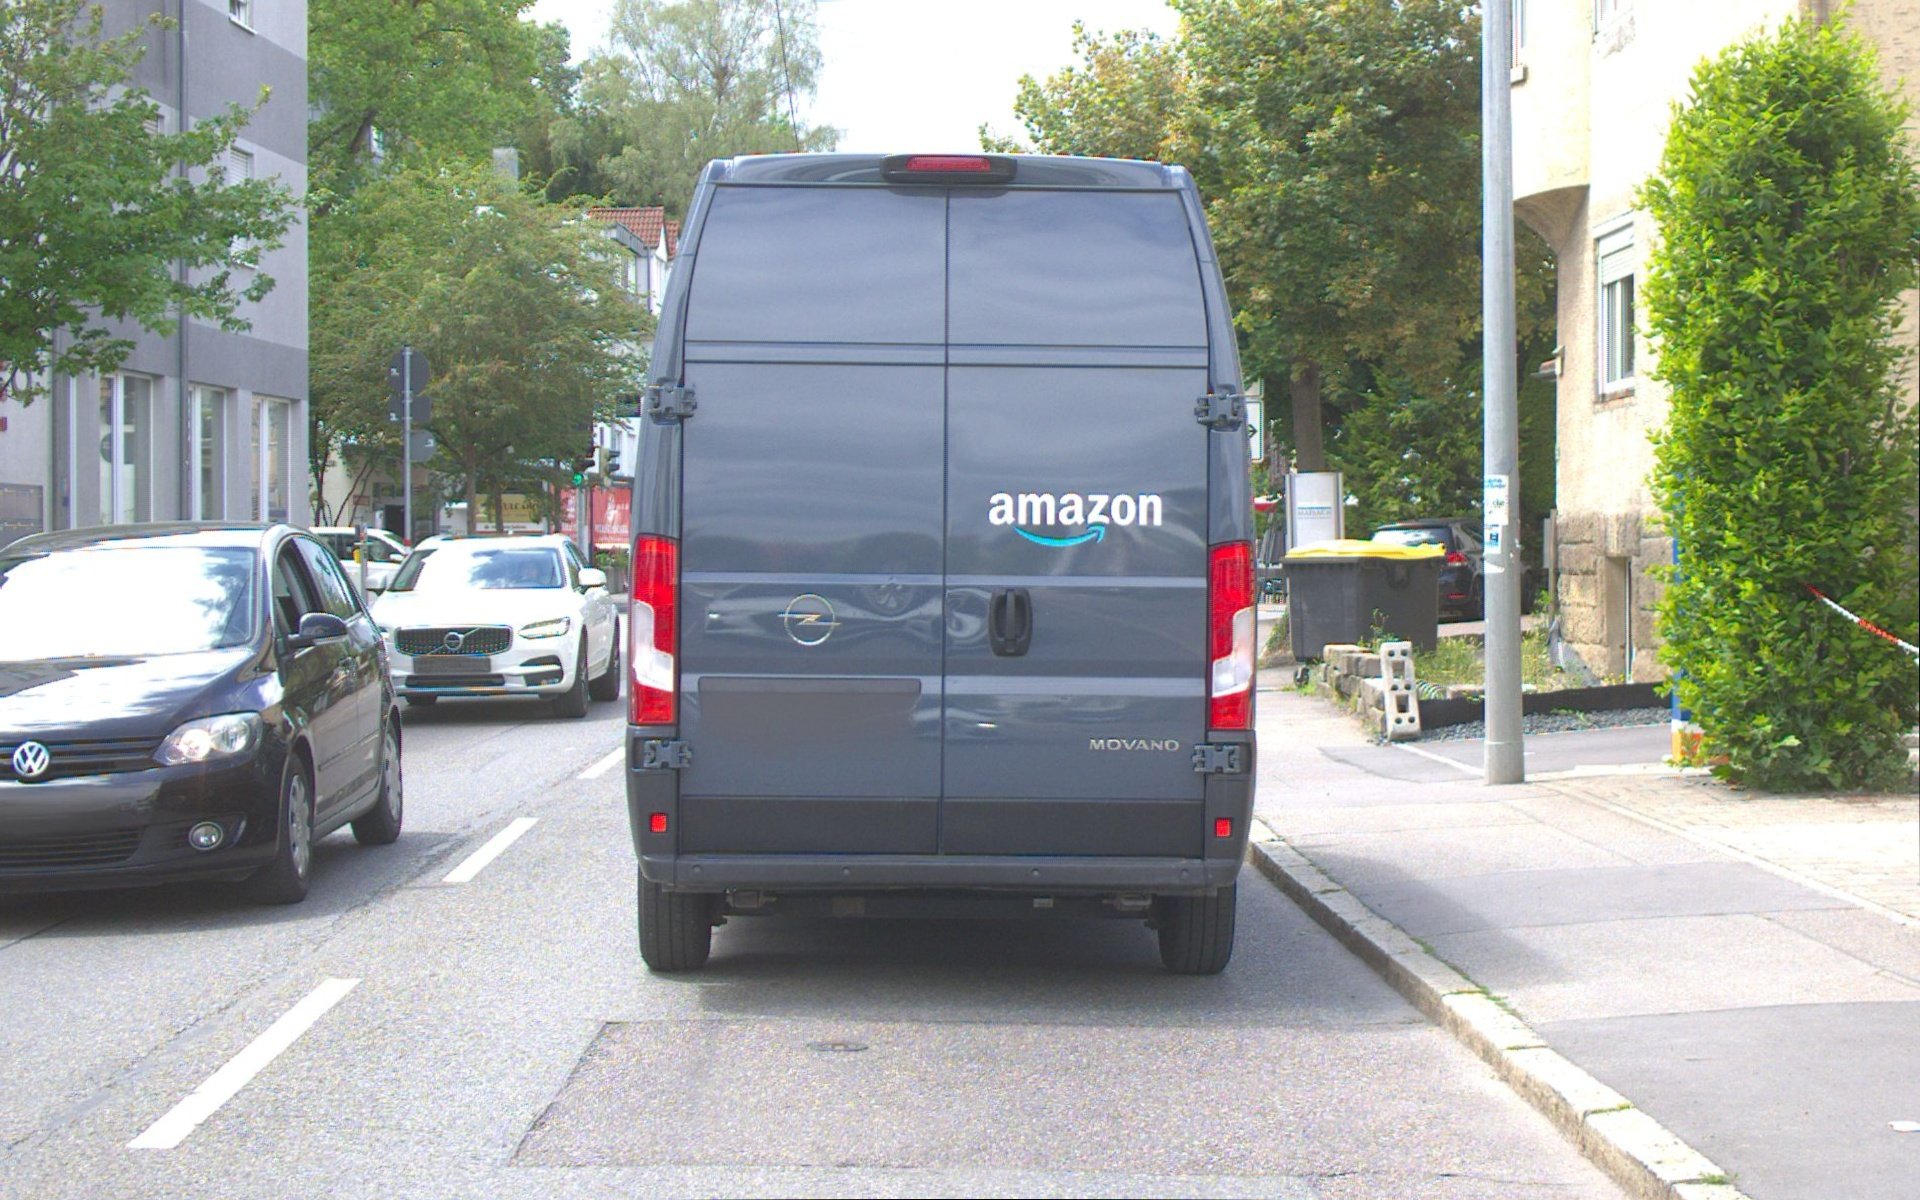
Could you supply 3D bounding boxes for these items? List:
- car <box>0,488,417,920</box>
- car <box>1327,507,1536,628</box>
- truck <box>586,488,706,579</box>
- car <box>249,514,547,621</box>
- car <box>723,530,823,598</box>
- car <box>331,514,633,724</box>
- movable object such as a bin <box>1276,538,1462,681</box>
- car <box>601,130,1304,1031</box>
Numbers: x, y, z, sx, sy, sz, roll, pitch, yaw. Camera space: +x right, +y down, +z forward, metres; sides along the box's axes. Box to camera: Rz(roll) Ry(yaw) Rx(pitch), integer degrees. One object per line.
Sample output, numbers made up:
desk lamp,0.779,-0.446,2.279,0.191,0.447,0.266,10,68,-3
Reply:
car,-3.550,0.358,14.800,1.832,1.579,4.038,-2,1,-1
car,6.848,-0.498,49.611,1.754,1.512,4.074,-3,1,26
truck,-8.502,-1.784,93.607,2.225,2.371,6.325,1,1,4
car,-8.546,-0.516,52.485,4.212,1.508,1.822,1,2,1
car,-4.032,-0.804,74.704,1.874,1.419,4.115,1,1,1
car,-3.958,0.098,29.222,1.897,1.554,4.801,-3,1,-1
movable object such as a bin,3.735,0.073,31.437,1.182,1.261,1.210,0,1,-30
car,-0.146,-0.117,13.706,2.147,2.761,6.250,0,1,-2
